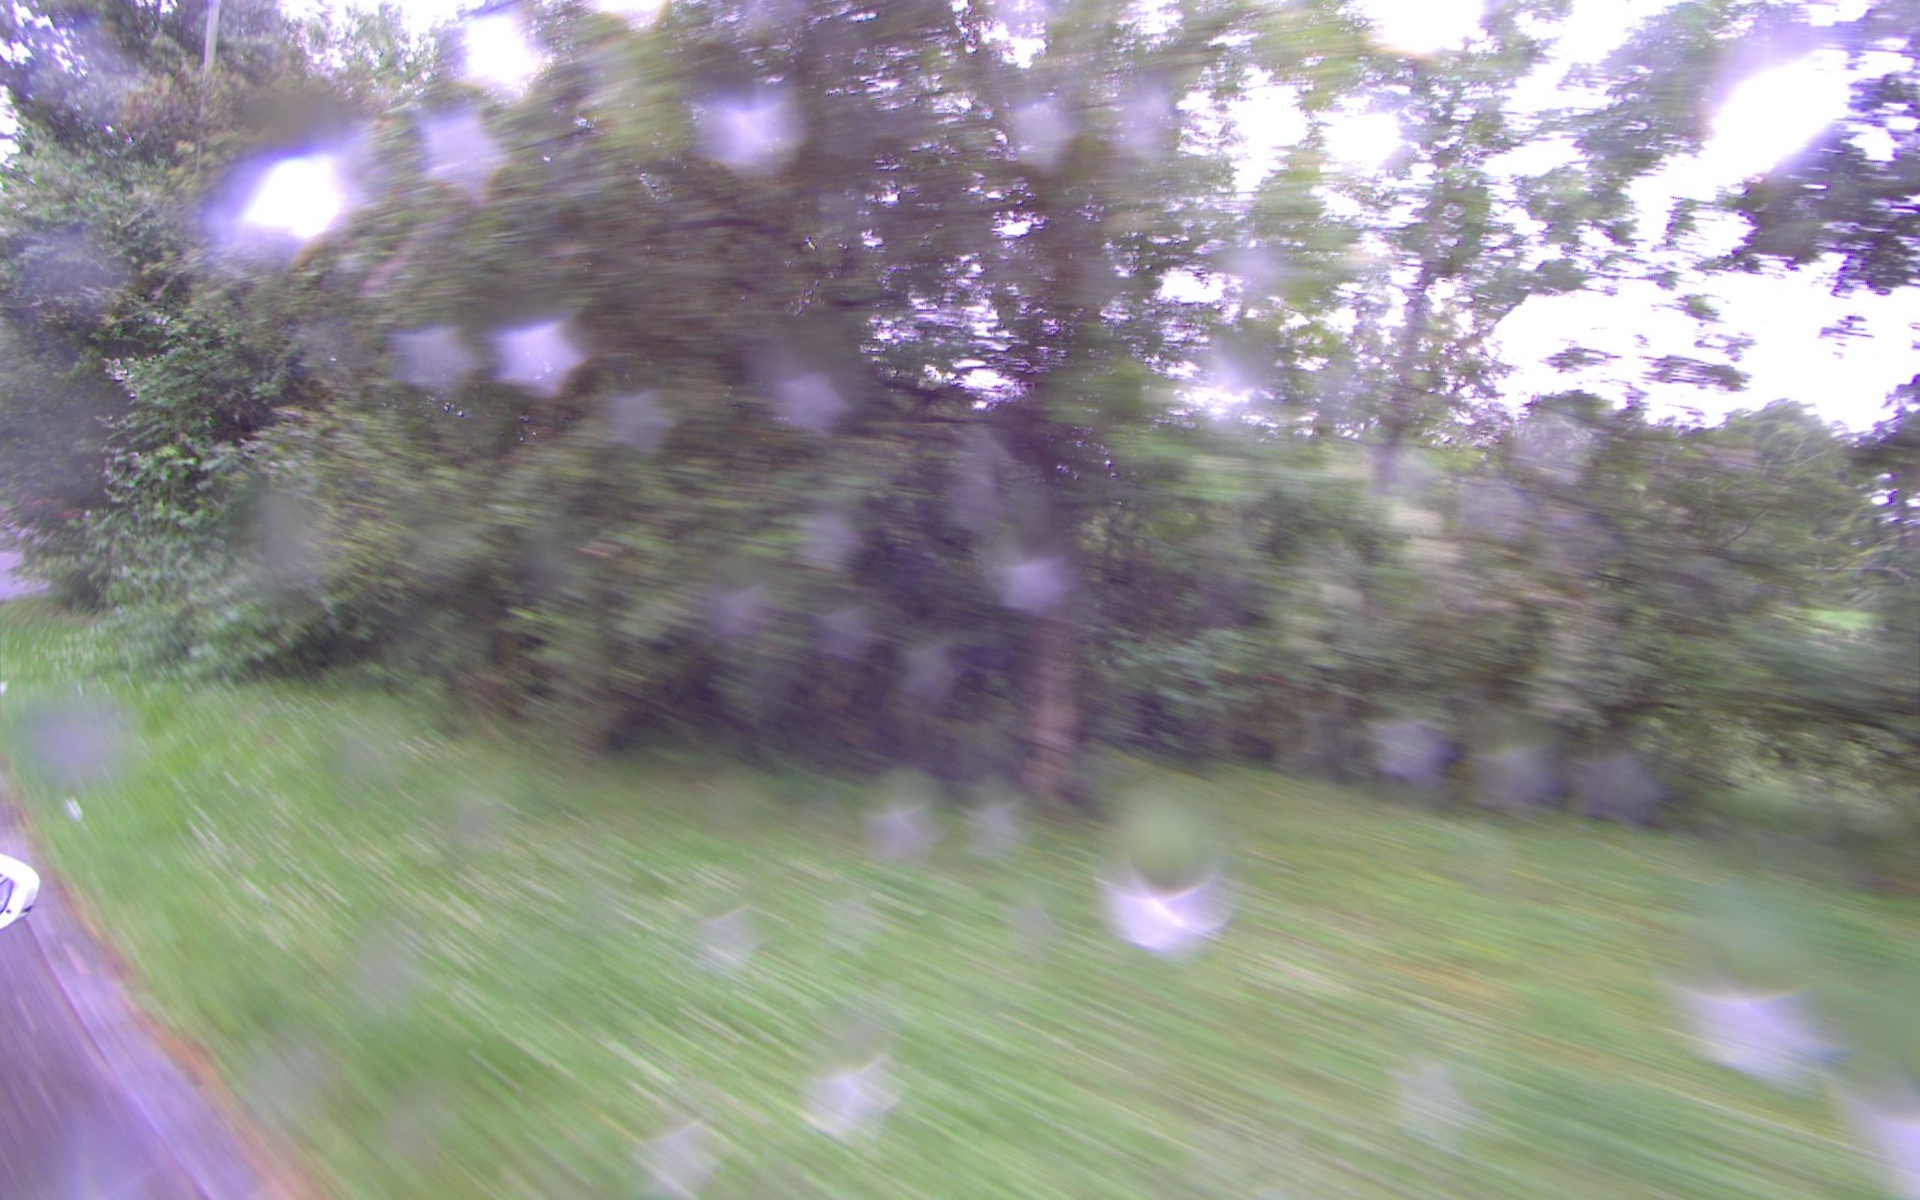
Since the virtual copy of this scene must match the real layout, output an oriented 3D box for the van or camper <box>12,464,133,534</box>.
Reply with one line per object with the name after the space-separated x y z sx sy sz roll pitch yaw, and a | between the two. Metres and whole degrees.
-28.848 -3.290 32.667 4.385 1.906 1.992 6 1 36 | van or camper
